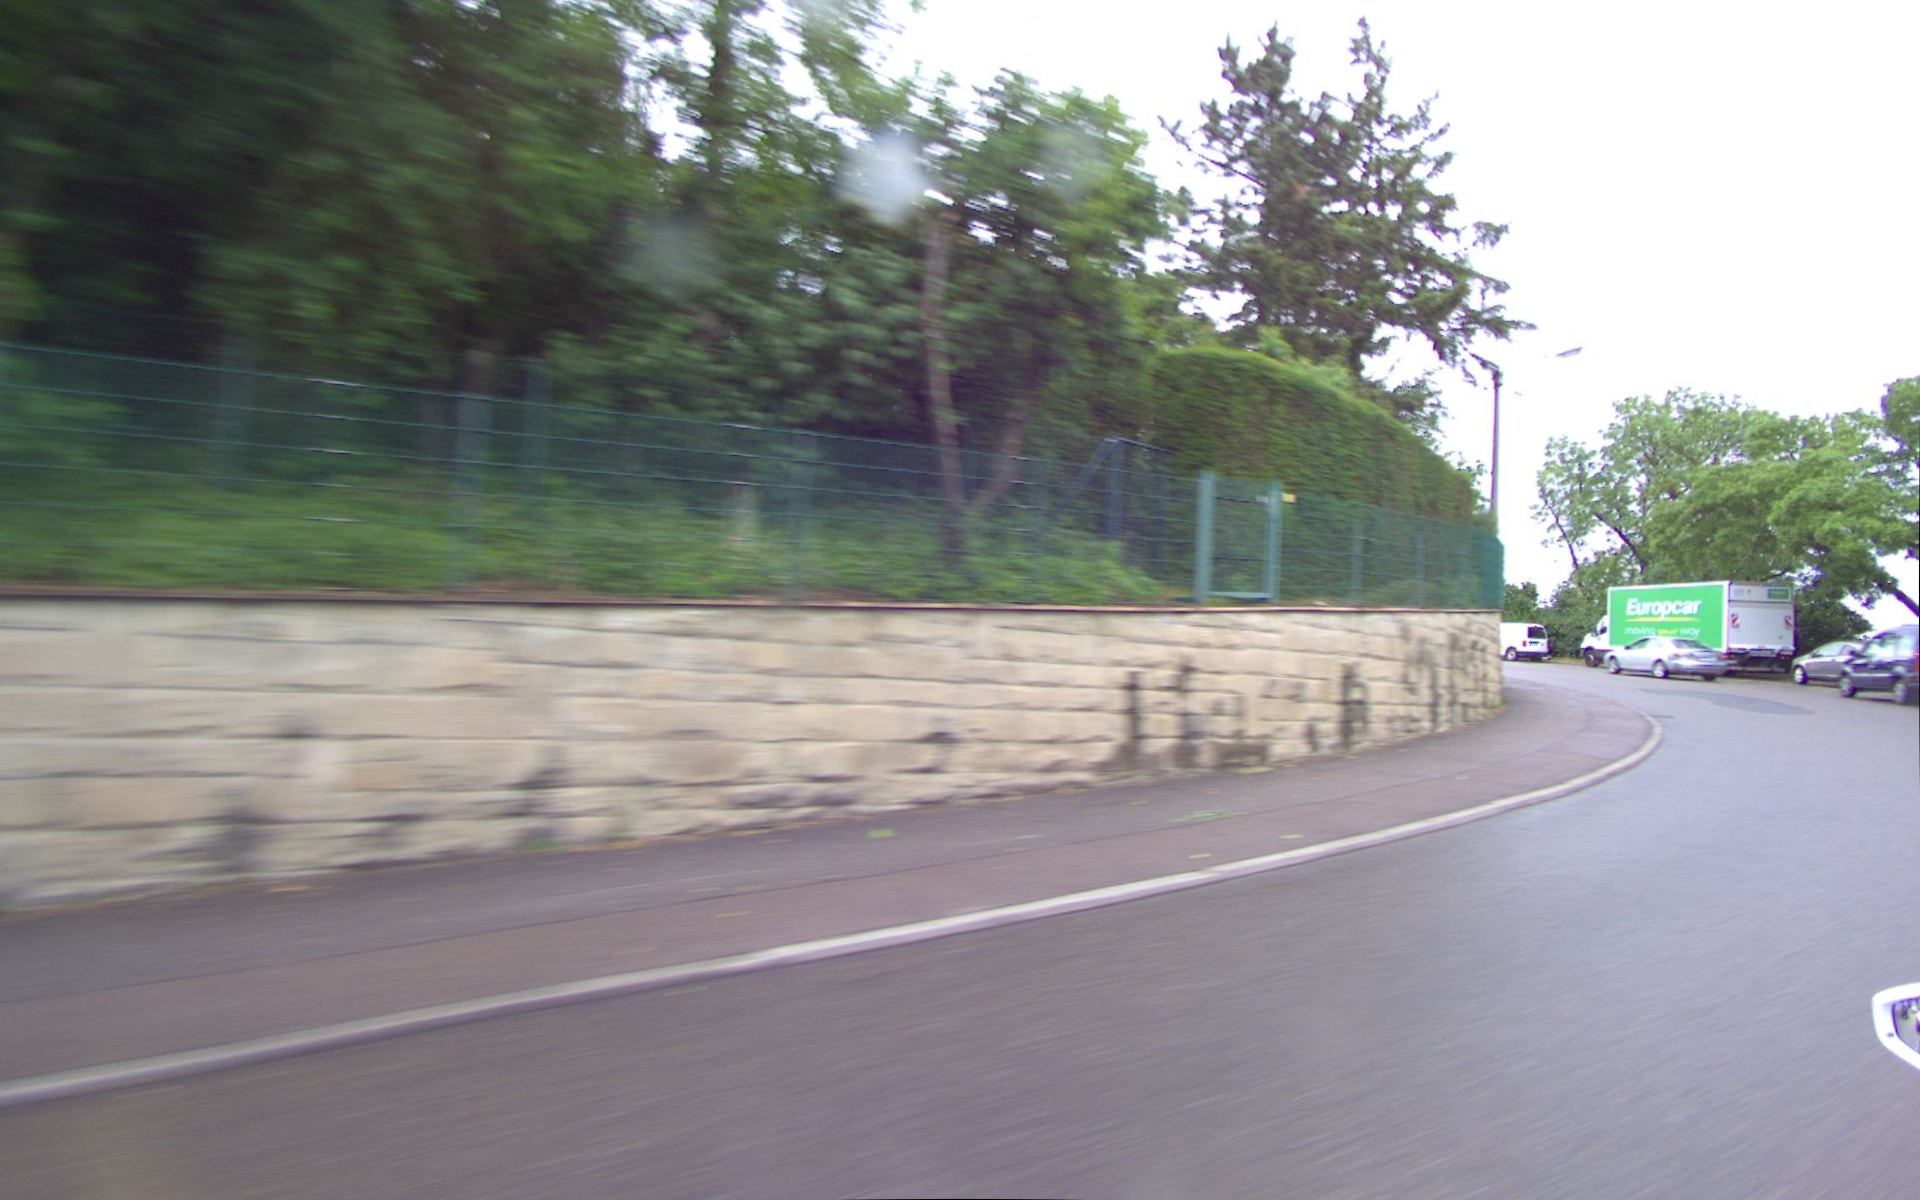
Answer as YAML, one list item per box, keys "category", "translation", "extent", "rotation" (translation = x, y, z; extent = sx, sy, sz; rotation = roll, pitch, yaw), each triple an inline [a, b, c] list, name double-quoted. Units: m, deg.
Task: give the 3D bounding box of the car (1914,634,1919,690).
- category: "car"
  translation: [26.998, 1.680, 25.565]
  extent: [1.828, 1.563, 4.897]
  rotation: [0, -1, 15]

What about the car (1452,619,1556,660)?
- category: "car"
  translation: [26.819, 1.913, 49.680]
  extent: [1.838, 1.794, 4.358]
  rotation: [3, -1, -20]

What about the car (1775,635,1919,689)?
- category: "car"
  translation: [28.147, 1.922, 31.793]
  extent: [1.704, 1.523, 4.138]
  rotation: [0, -1, 7]

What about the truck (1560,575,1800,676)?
- category: "truck"
  translation: [28.327, 0.955, 40.238]
  extent: [2.729, 3.517, 8.929]
  rotation: [1, -1, -4]

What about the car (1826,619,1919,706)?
- category: "car"
  translation: [22.544, 1.427, 23.822]
  extent: [1.795, 1.907, 4.094]
  rotation: [0, -1, 22]

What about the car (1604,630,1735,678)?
- category: "car"
  translation: [24.284, 1.818, 34.565]
  extent: [1.822, 1.478, 4.097]
  rotation: [0, -1, 3]
